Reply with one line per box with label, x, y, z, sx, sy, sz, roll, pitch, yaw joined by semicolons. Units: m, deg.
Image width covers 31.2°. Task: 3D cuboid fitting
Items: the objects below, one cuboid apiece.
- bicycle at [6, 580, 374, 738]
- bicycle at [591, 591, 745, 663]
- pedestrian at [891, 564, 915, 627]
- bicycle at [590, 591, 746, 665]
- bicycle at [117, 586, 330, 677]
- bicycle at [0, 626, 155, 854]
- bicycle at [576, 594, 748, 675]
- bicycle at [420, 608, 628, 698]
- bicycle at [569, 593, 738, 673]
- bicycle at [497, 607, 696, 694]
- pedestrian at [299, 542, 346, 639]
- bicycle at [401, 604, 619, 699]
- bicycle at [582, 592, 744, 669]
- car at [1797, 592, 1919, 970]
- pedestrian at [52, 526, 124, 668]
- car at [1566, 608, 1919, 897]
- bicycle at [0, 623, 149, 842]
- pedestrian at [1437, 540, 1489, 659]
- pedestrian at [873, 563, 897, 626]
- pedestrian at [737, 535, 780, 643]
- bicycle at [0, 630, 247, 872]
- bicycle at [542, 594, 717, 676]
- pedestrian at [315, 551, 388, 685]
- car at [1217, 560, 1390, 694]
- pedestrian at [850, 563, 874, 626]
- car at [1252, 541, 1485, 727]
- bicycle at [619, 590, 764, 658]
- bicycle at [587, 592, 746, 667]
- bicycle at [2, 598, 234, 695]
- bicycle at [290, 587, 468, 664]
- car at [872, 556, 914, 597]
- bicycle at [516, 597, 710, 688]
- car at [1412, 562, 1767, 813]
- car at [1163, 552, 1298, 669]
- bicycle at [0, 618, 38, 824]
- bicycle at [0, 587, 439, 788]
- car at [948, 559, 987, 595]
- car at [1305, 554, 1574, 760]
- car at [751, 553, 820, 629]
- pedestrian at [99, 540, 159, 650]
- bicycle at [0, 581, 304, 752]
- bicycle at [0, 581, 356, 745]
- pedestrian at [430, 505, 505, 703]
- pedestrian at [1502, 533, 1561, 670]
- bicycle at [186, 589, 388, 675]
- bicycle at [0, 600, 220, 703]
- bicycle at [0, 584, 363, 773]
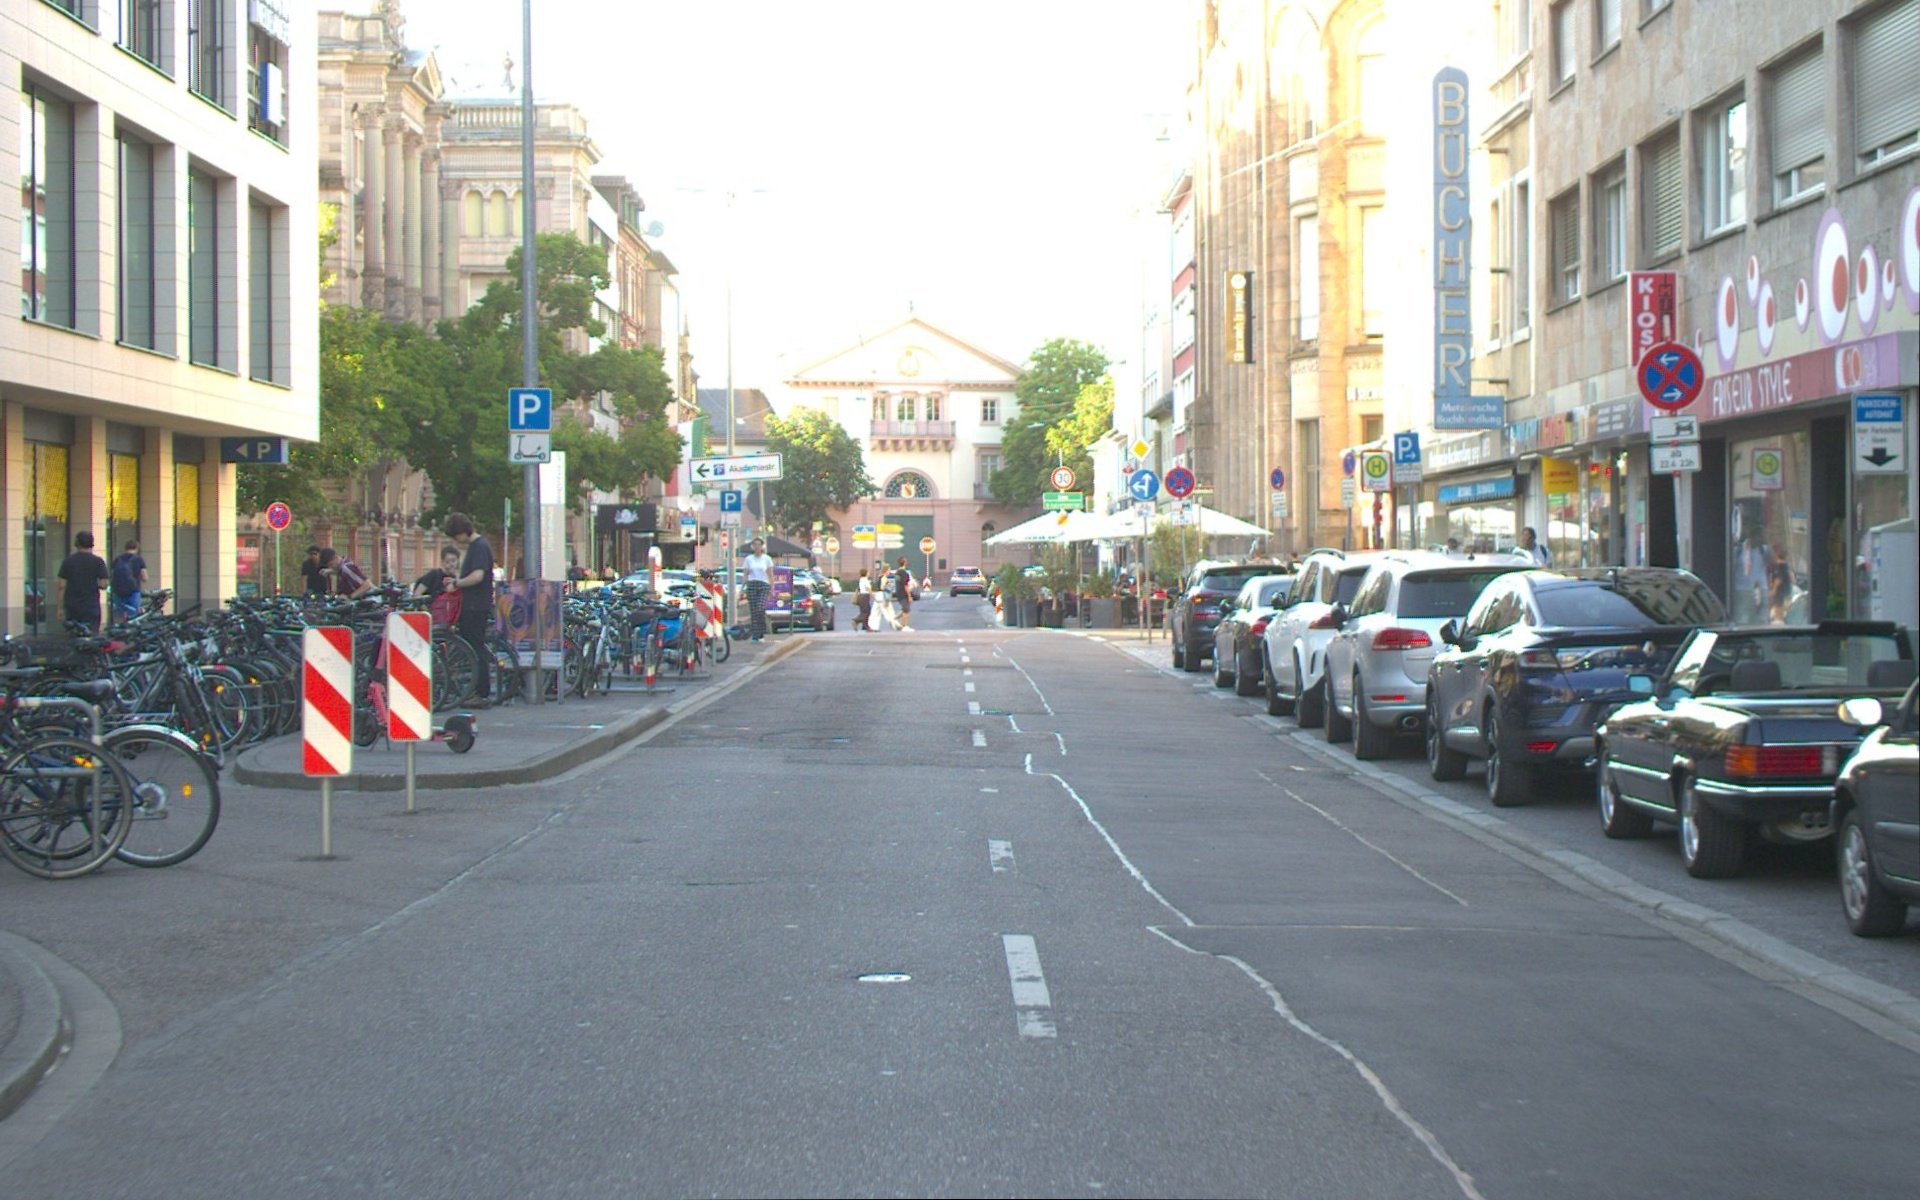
bicycle;-6.419;0.473;28.739;2.886;1.251;0.804;-1;1;-26
bicycle;-4.199;0.387;49.581;2.148;1.026;0.640;0;1;2
pedestrian;-1.327;-0.108;80.338;0.549;1.481;0.566;0;0;-2
bicycle;-4.138;0.395;48.855;2.148;1.026;0.640;0;1;2
bicycle;-7.913;0.336;36.973;2.148;0.950;0.640;0;1;2
bicycle;-5.071;0.691;17.130;1.967;1.118;0.558;1;0;-29
bicycle;-3.851;0.442;44.480;2.148;1.026;0.640;0;1;2
bicycle;-4.701;0.565;37.125;2.148;0.950;0.640;0;1;2
bicycle;-4.022;0.432;45.210;2.148;1.026;0.640;0;1;2
bicycle;-4.070;0.565;38.548;2.148;0.950;0.640;0;1;2
pedestrian;-10.705;-0.166;57.743;0.679;1.615;0.573;0;0;-1
bicycle;-4.638;0.527;35.512;2.148;0.950;0.640;0;1;2
bicycle;-4.058;0.414;47.050;2.148;1.026;0.640;0;1;2
car;4.491;0.684;13.021;1.679;1.419;3.673;-1;1;-1
pedestrian;-9.974;-0.040;39.347;0.679;1.615;0.573;0;0;-1
car;4.473;0.731;18.405;1.679;1.286;4.047;-1;1;-1
bicycle;-5.273;0.680;17.848;1.967;1.118;0.558;1;0;-29
pedestrian;7.406;-0.013;50.656;0.643;1.740;0.671;0;1;-2
pedestrian;-1.793;-0.132;81.860;0.549;1.481;0.566;0;0;-2
pedestrian;-3.394;-0.188;57.912;0.598;1.817;0.452;0;1;-20
bicycle;-4.452;0.711;16.380;1.967;1.118;0.558;1;0;-29
bicycle;-4.191;0.443;43.690;2.148;1.026;0.640;0;1;2
pedestrian;-7.001;0.202;39.573;0.751;1.524;0.485;0;0;-1
car;4.172;0.299;42.236;1.679;1.542;3.673;-1;1;-1
pedestrian;-2.323;-0.137;81.194;0.549;1.481;0.566;0;0;-2
car;4.145;0.307;35.496;1.799;1.762;4.398;-1;1;-1
bicycle;-4.089;0.362;52.447;2.148;1.026;0.640;0;1;2
bicycle;-4.074;0.406;47.820;2.148;1.026;0.640;0;1;2
bicycle;-8.400;0.459;34.344;2.148;0.950;0.640;0;1;2
bicycle;-7.358;0.318;43.586;2.148;0.950;0.640;0;1;2
car;-3.216;-1.139;165.722;1.993;1.897;4.000;1;1;-1
bicycle;-3.973;0.487;39.480;2.148;1.026;0.640;0;1;2
car;4.213;0.533;23.522;1.679;1.542;3.673;-1;1;-1
car;4.043;0.140;51.820;1.679;1.660;3.673;-1;1;-1
bicycle;-6.085;0.654;18.703;1.967;1.118;0.558;1;0;-29
bicycle;-5.011;0.557;23.018;2.886;1.251;0.804;-1;1;-26
car;0.403;-1.240;184.350;1.993;1.897;4.000;1;1;-1
car;4.041;0.436;29.536;1.679;1.608;4.028;-1;1;-1
car;-4.726;-0.264;93.700;1.710;2.007;4.000;0;1;-1
pedestrian;-12.323;-0.078;50.990;0.731;1.615;0.661;0;0;-1
bicycle;-6.545;0.493;26.291;2.886;1.251;0.804;-1;1;-26
bicycle;-6.400;0.483;27.764;2.886;1.251;0.804;-1;1;-26
pedestrian;-4.558;0.033;31.803;0.656;1.817;0.528;0;0;-10
pedestrian;7.545;0.010;45.410;0.643;1.794;0.671;0;1;-2
bicycle;-7.576;0.359;38.761;2.148;0.950;0.640;0;1;2
bicycle;-8.152;0.481;32.536;2.148;0.950;0.640;0;1;2
bicycle;-5.712;0.532;24.102;2.886;1.251;0.804;-1;1;-26
